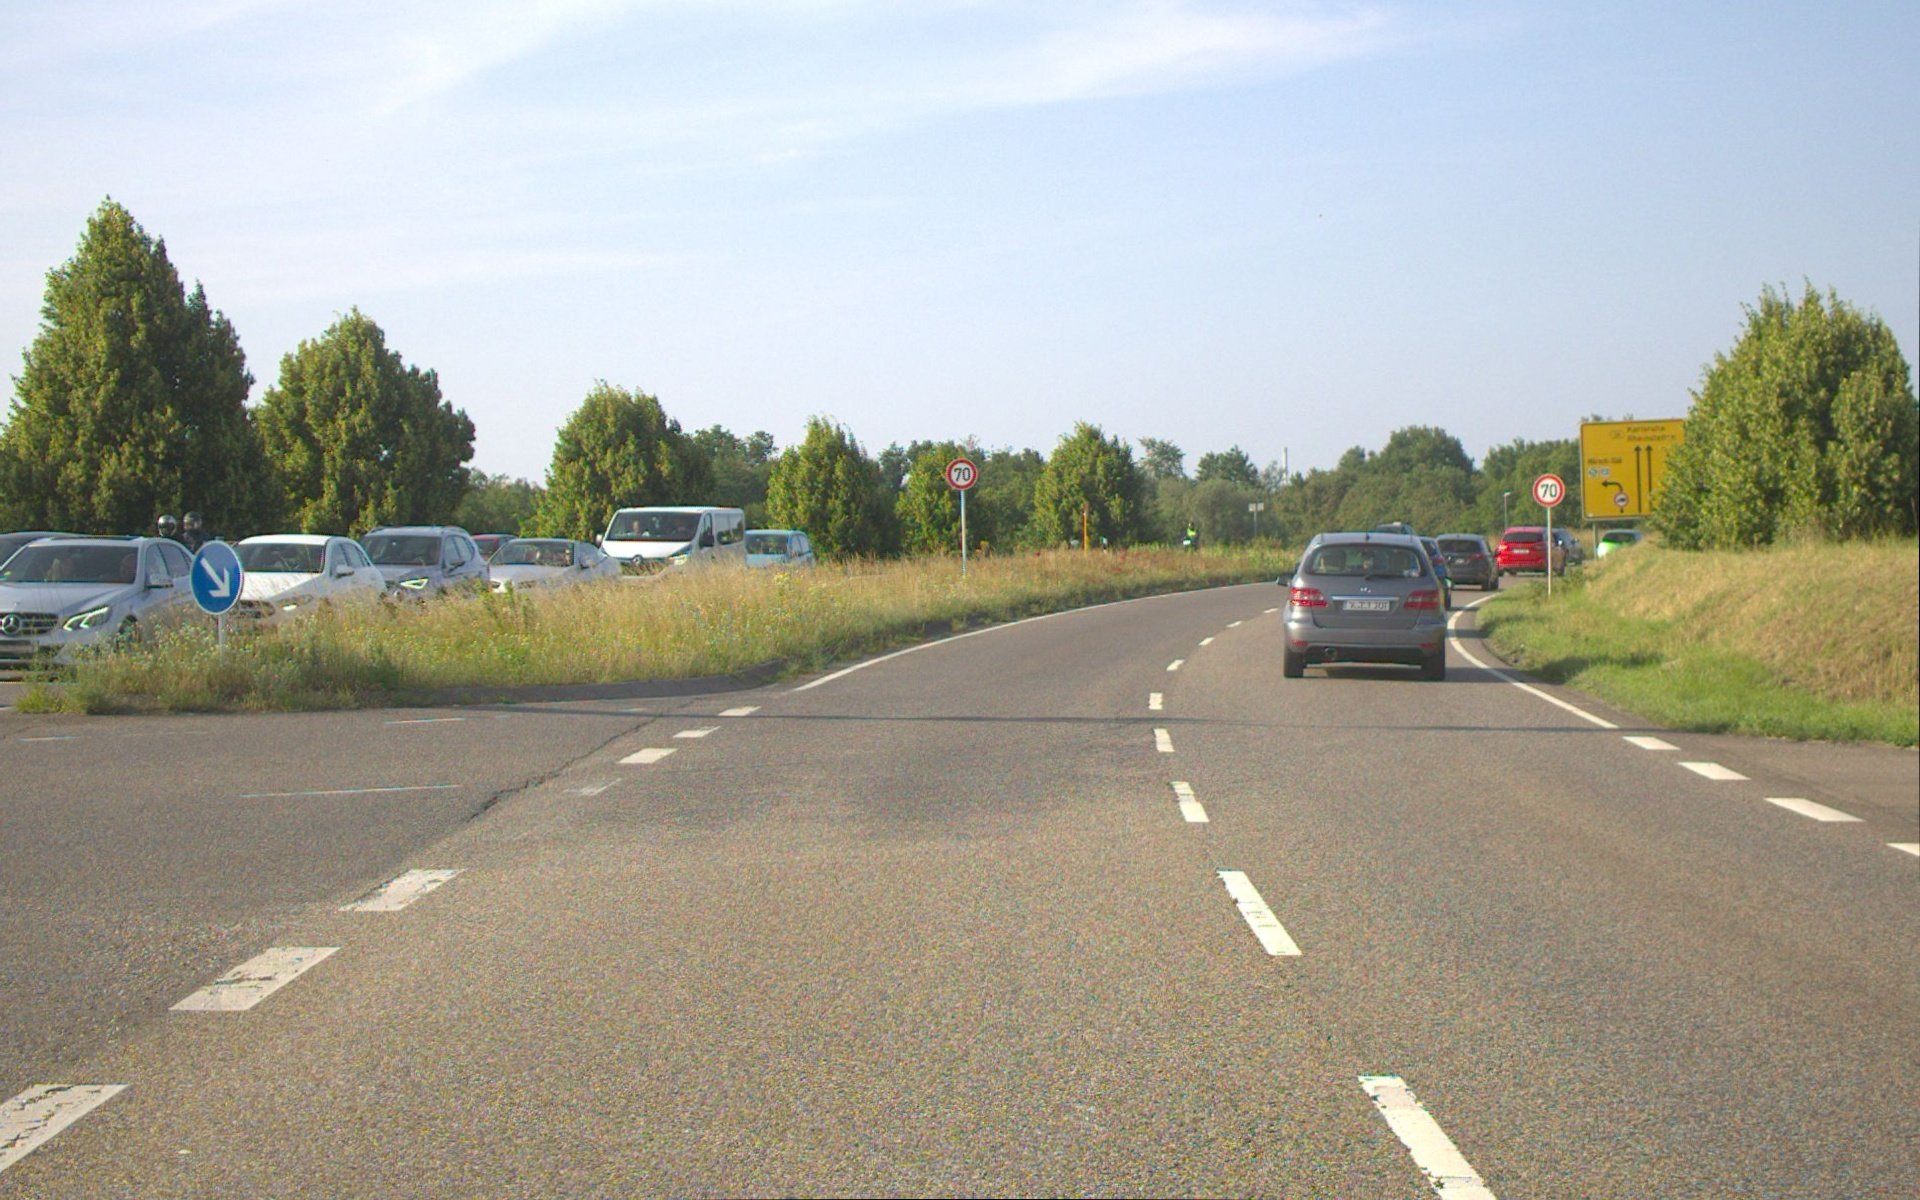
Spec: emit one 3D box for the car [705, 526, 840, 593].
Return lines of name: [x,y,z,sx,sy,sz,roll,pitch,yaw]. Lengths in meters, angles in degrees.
car: [-3.961,-0.873,73.252,1.787,1.381,4.049,0,1,13]

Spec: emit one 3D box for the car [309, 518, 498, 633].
car: [-7.960,-0.373,49.509,1.786,1.563,4.051,-1,1,4]

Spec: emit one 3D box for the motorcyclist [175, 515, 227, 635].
motorcyclist: [-11.559,-0.381,52.374,0.662,1.810,0.605,-1,1,-3]

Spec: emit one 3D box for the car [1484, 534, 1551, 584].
car: [18.070,-1.318,111.273,1.896,1.559,4.275,0,0,13]

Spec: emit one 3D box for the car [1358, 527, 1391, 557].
car: [19.517,-2.730,161.728,1.406,1.397,3.421,-1,1,9]

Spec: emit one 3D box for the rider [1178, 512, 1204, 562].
rider: [9.241,-2.519,137.370,0.868,2.007,0.771,0,1,15]

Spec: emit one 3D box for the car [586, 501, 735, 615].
car: [-5.610,-0.807,64.957,1.926,2.071,4.242,-1,1,7]

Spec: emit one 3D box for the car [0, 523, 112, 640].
car: [-12.473,-0.254,44.386,1.786,1.428,4.051,-1,1,4]

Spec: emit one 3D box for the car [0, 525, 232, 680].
car: [-9.053,-0.008,35.500,1.786,1.483,4.651,-1,1,4]

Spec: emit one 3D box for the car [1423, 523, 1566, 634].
car: [7.959,-0.334,50.929,1.811,1.560,4.528,0,1,12]

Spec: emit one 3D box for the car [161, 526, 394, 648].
car: [-8.511,-0.192,43.232,1.786,1.428,4.308,-1,1,4]

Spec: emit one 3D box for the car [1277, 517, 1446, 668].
car: [4.560,-0.074,38.648,1.785,1.600,4.194,0,0,8]

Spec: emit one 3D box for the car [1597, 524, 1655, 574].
car: [25.014,-1.895,129.017,1.910,1.794,4.275,0,0,14]

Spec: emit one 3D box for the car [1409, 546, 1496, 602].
car: [12.761,-0.657,89.006,1.916,1.411,3.793,0,0,13]

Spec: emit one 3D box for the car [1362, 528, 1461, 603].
car: [9.216,-0.717,69.987,1.773,1.487,3.983,0,1,11]

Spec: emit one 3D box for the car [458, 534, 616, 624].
car: [-6.790,-0.361,55.598,1.786,1.381,4.051,-1,1,4]

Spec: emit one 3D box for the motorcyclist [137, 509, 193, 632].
motorcyclist: [-11.394,-0.424,49.274,0.662,1.741,0.605,-1,1,-3]
